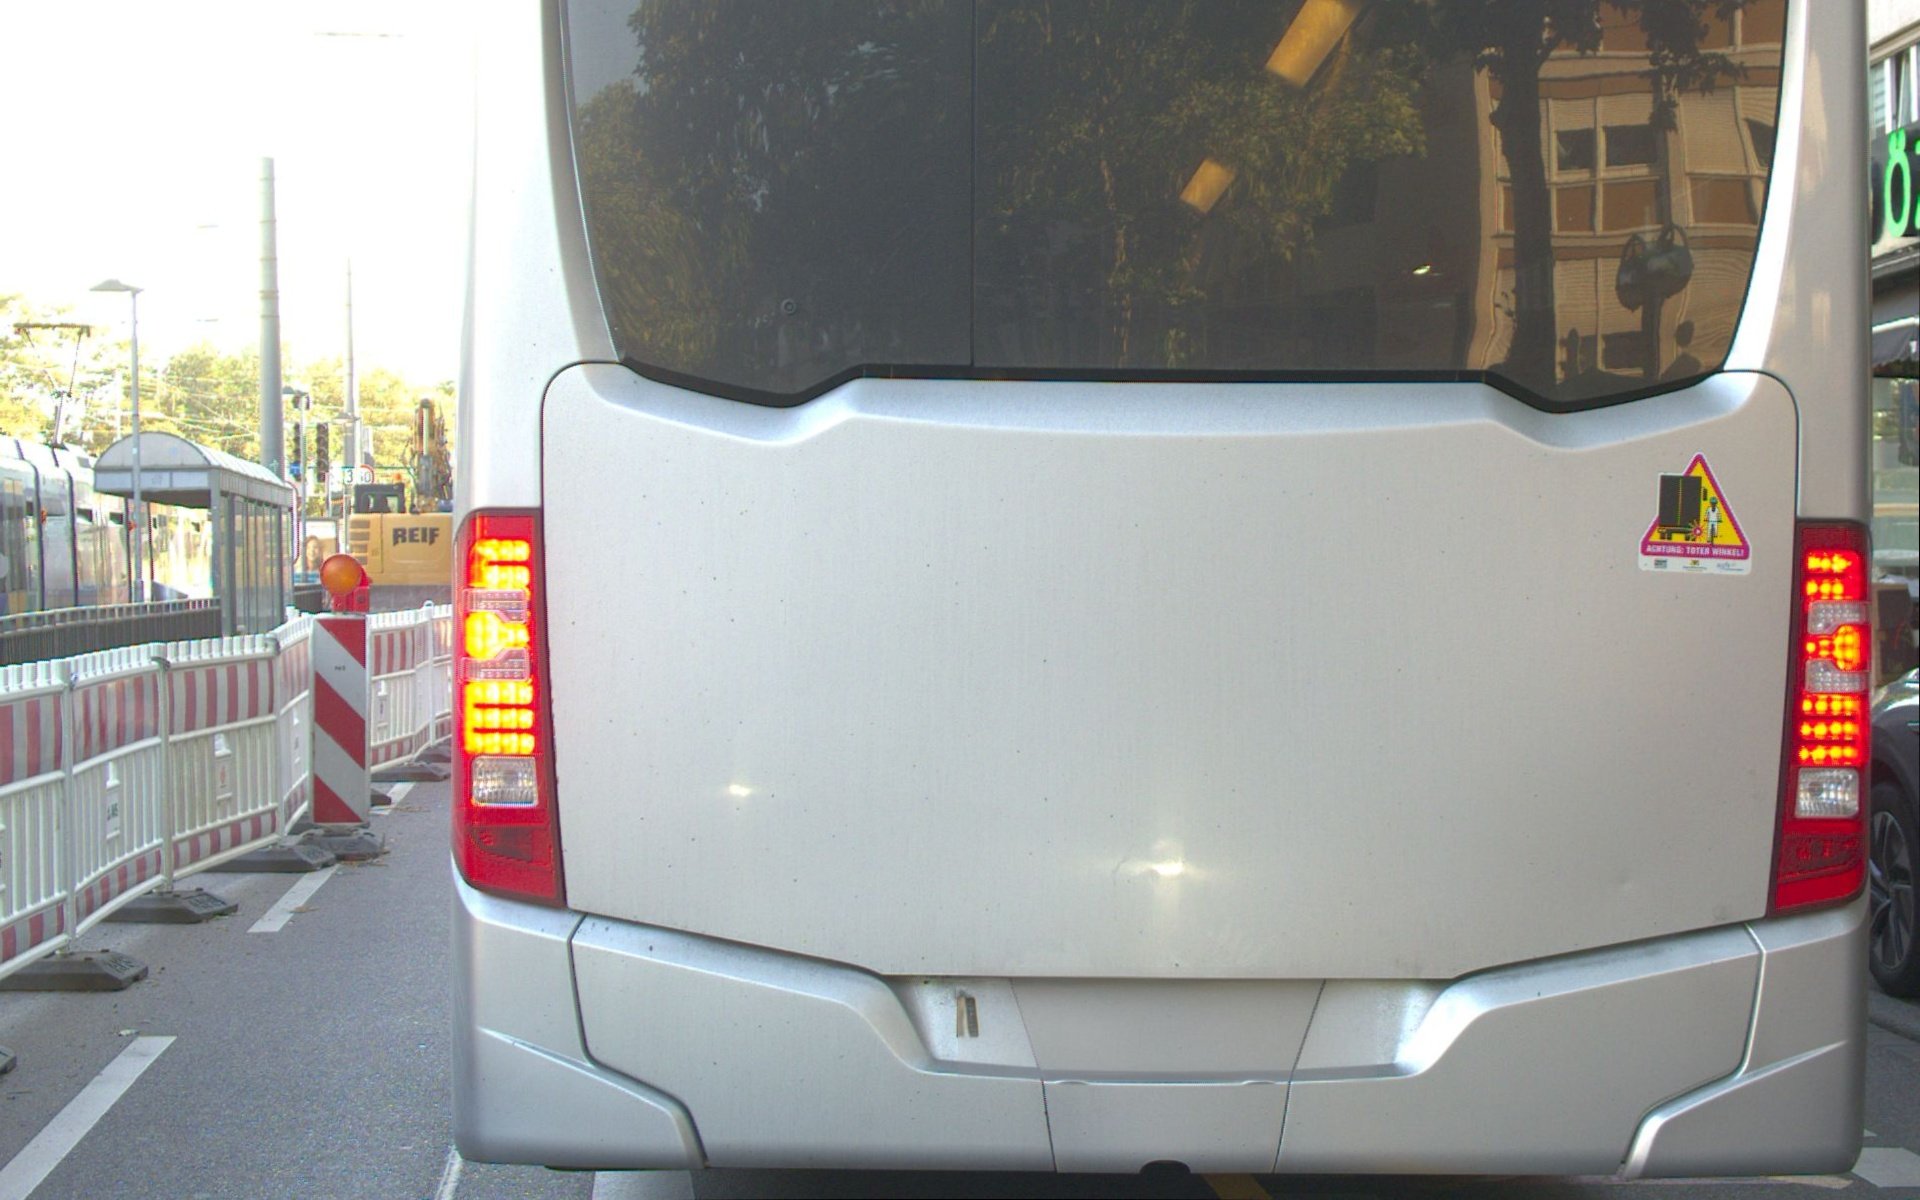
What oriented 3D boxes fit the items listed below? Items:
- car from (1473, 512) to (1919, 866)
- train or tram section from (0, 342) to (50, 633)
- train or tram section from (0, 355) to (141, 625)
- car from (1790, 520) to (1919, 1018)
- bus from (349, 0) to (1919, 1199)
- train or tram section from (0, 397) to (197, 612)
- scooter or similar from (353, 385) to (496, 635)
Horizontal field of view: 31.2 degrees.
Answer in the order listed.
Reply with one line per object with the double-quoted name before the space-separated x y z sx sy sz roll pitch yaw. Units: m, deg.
"car" 4.267 0.364 18.298 1.993 1.576 4.369 -3 1 -5
"train or tram section" -12.753 -1.350 39.332 2.686 3.521 11.774 1 1 -6
"train or tram section" -14.106 -1.529 50.937 2.686 3.546 11.585 1 1 -8
"car" 4.127 0.524 9.950 1.993 1.576 4.369 -3 1 -5
"bus" 0.283 -0.191 9.632 2.611 3.115 7.993 1 1 -1
"train or tram section" -15.687 -1.636 62.346 2.686 3.521 11.585 1 1 -8
"scooter or similar" -10.002 -1.651 64.559 2.468 4.455 5.974 -1 1 -8
